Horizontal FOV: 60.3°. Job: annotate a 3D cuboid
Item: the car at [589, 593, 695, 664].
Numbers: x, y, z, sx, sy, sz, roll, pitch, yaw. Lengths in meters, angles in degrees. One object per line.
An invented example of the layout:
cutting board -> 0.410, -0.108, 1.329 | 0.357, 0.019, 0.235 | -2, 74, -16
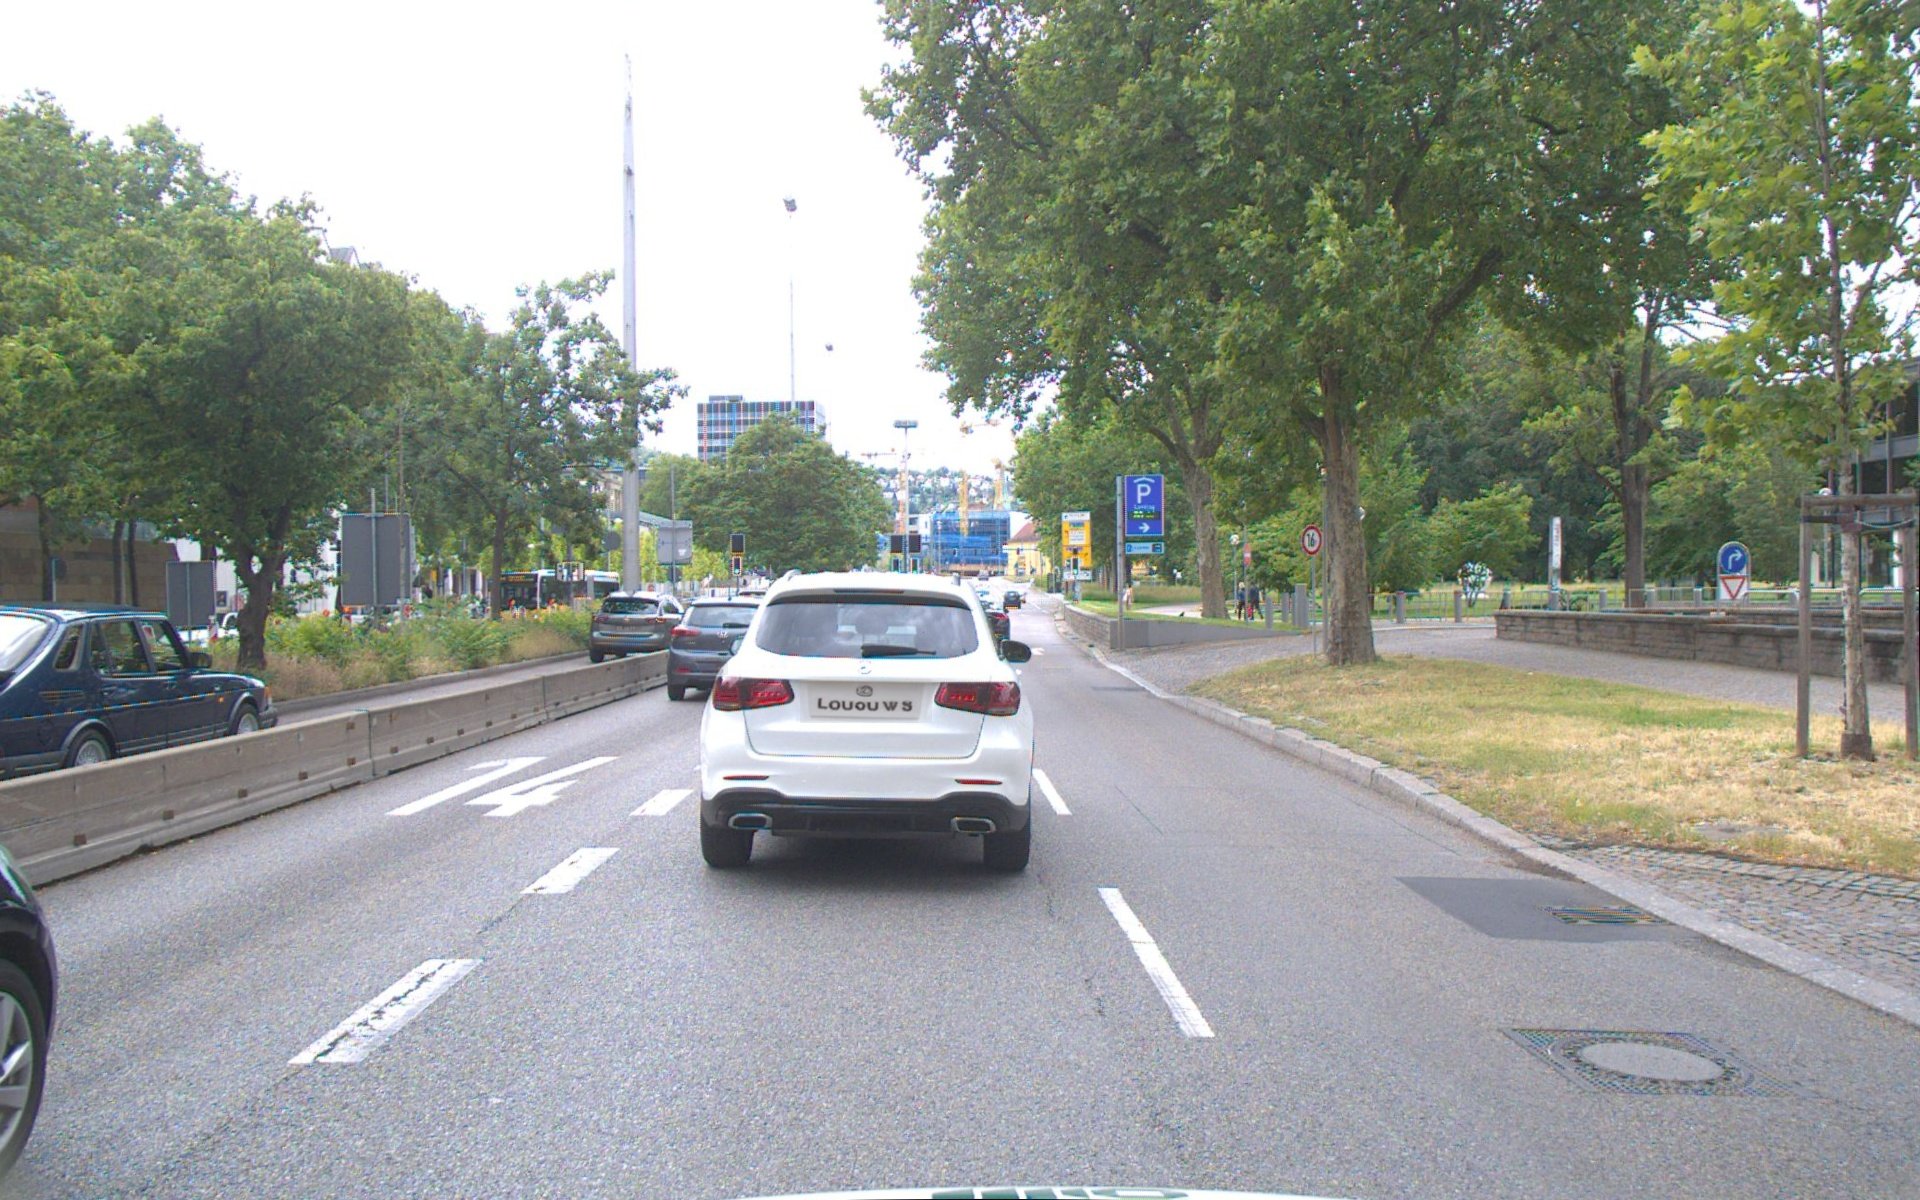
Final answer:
car -> -6.848, 0.595, 35.960 | 1.628, 1.461, 3.959 | 0, 0, -1

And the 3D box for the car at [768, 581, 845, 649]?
car -> -3.963, 0.380, 43.216 | 1.814, 1.656, 4.903 | 0, 0, -3

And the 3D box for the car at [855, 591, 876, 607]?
car -> -8.175, -0.065, 143.228 | 1.625, 1.343, 3.547 | 0, 0, 0

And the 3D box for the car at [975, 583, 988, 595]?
car -> 3.007, -1.546, 229.148 | 1.722, 1.698, 4.167 | 0, 0, -1

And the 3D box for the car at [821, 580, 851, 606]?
car -> -7.643, -0.427, 102.308 | 1.625, 1.540, 3.547 | 0, 0, 0

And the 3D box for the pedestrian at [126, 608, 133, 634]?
pedestrian -> -34.910, 0.891, 69.530 | 0.211, 1.097, 0.258 | 2, -1, -19

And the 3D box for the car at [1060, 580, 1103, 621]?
car -> 6.265, 0.026, 85.803 | 1.952, 2.049, 4.000 | 0, 0, 0

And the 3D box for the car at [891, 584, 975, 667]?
car -> -0.625, 0.515, 35.257 | 1.626, 1.668, 3.545 | 0, 0, -4

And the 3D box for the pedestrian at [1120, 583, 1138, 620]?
pedestrian -> 9.386, 0.098, 91.687 | 0.746, 2.049, 0.696 | 0, 0, 35

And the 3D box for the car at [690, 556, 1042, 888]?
car -> -0.445, 0.608, 10.504 | 1.751, 1.653, 4.437 | 0, 0, 1

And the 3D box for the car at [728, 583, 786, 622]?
car -> -7.958, 0.073, 65.078 | 1.739, 1.445, 4.000 | 0, 0, 0

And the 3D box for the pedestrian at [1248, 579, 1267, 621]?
pedestrian -> 12.537, 0.015, 69.728 | 0.743, 1.755, 0.699 | 0, 0, 7

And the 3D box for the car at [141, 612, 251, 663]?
car -> -22.977, 1.095, 49.880 | 1.626, 1.407, 3.802 | 0, 0, -1

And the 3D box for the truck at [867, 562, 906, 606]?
truck -> -5.077, -1.103, 115.743 | 2.568, 2.911, 7.076 | 1, 0, -2

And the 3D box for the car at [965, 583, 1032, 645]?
car -> 1.111, 0.395, 49.481 | 1.788, 1.783, 3.999 | 0, 0, -1

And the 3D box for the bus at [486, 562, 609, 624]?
bus -> -23.259, -0.406, 94.261 | 3.593, 3.261, 14.271 | -1, 0, -1

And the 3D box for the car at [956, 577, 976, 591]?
car -> 0.612, -1.628, 168.068 | 1.907, 1.343, 4.016 | 0, 0, 0

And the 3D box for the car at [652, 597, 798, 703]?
car -> -3.457, 0.691, 24.944 | 1.761, 1.462, 4.018 | 0, 0, -2

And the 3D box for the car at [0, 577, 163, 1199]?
car -> -3.006, 0.702, 2.813 | 1.575, 1.499, 3.622 | 0, 0, -1

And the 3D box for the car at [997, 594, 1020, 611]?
car -> 4.265, 0.208, 145.827 | 1.907, 1.453, 4.016 | 0, 0, 0

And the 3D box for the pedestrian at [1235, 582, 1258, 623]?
pedestrian -> 11.586, 0.103, 66.890 | 0.651, 1.639, 0.637 | 0, 0, -19

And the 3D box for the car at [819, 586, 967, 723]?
car -> -0.981, 0.655, 22.136 | 1.761, 1.636, 3.750 | -1, 0, -5

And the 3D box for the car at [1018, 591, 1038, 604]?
car -> 7.245, -0.286, 176.364 | 1.907, 1.343, 4.016 | 0, 0, 0

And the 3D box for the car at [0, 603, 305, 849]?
car -> -6.348, 0.737, 11.780 | 1.644, 1.391, 4.542 | 0, 0, -1

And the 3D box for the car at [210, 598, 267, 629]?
car -> -45.497, 0.834, 104.368 | 1.953, 1.948, 3.999 | 0, 0, -1

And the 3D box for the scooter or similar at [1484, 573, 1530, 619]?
scooter or similar -> 15.638, -0.105, 47.326 | 0.622, 1.267, 2.226 | 1, 0, 2

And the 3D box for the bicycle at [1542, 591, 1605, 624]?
bicycle -> 19.749, 0.244, 53.346 | 0.934, 0.992, 2.786 | 2, 0, -1
